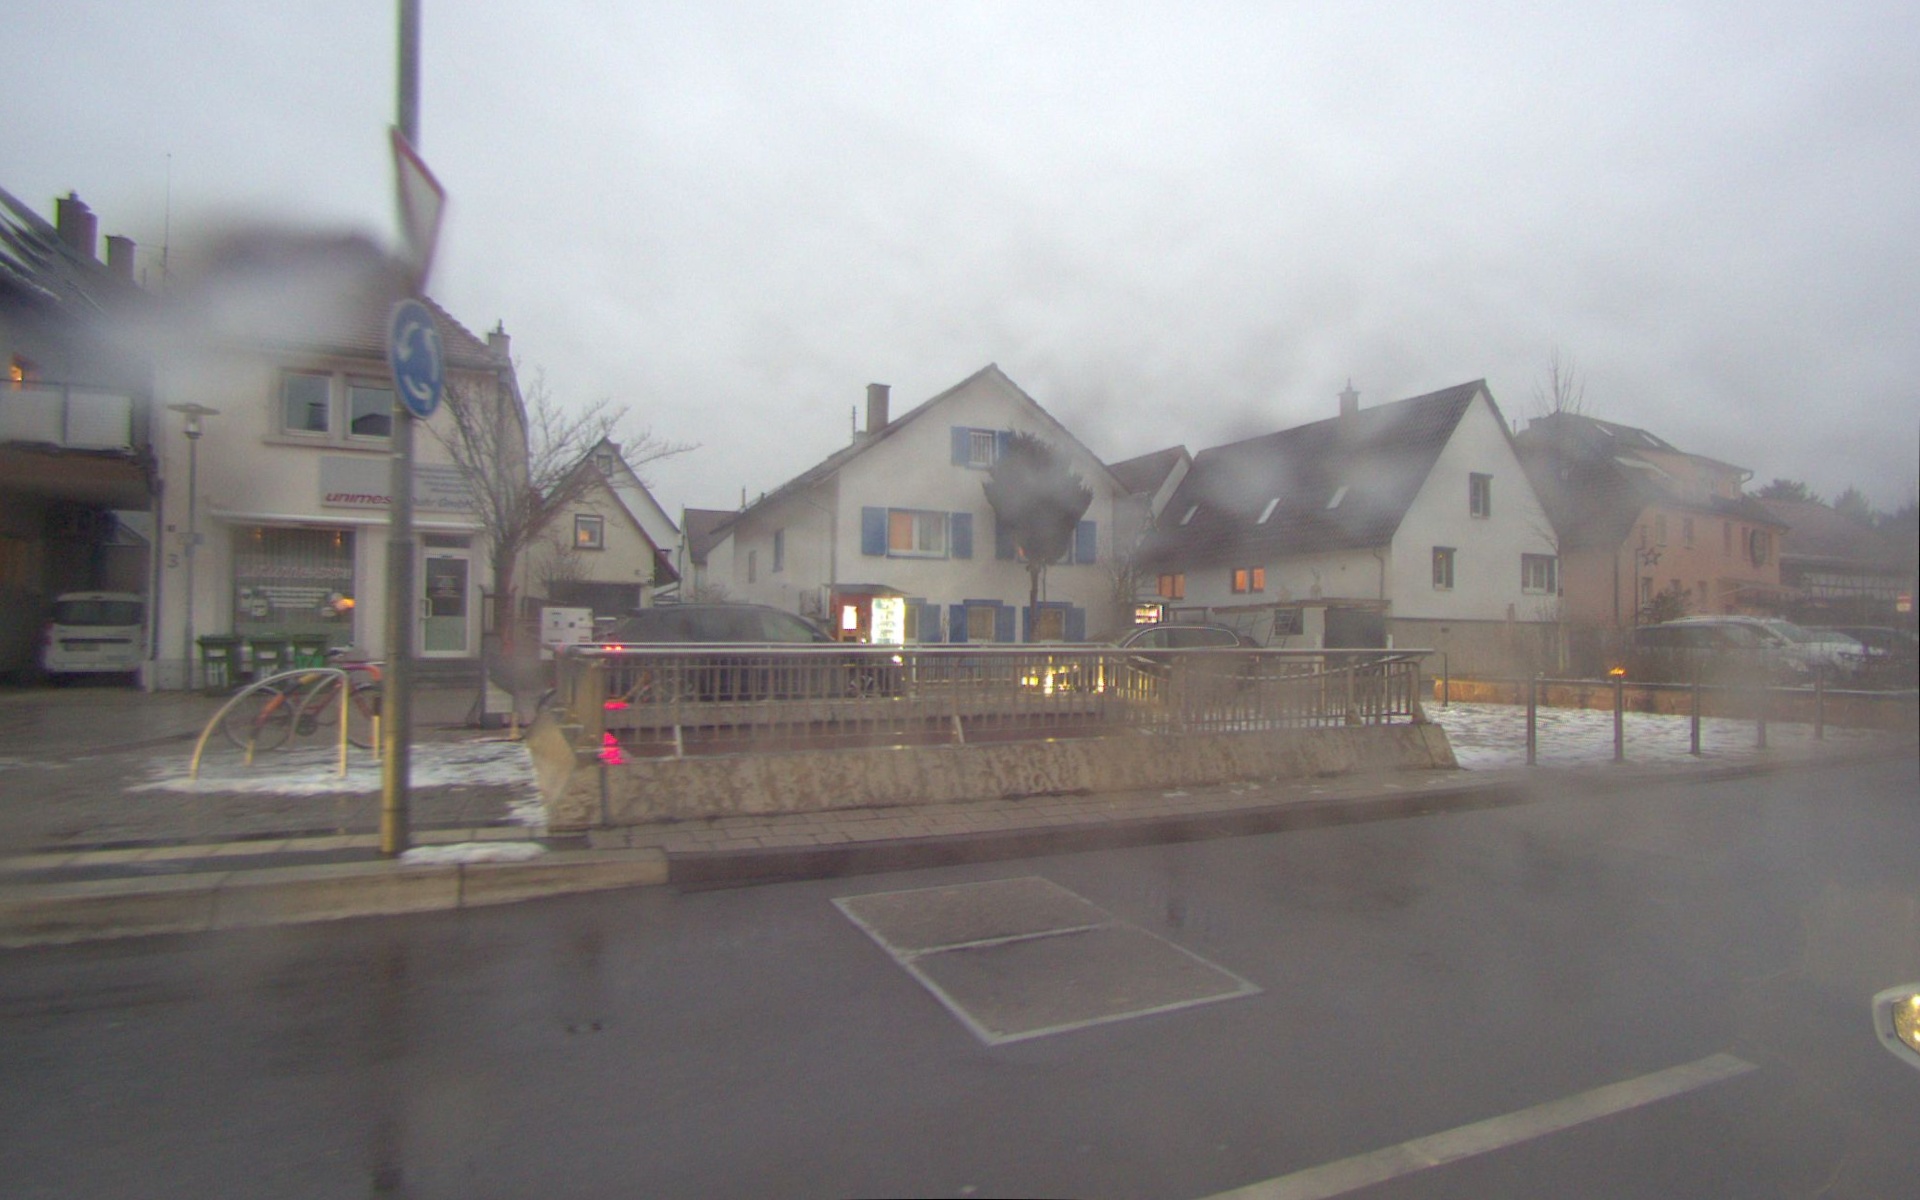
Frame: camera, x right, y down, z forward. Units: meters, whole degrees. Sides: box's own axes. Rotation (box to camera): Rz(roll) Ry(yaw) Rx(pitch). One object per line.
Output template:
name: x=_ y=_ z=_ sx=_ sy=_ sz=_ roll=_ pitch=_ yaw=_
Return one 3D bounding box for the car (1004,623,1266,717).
car: x=3.196 y=1.211 z=18.142 sx=4.514 sy=1.502 sz=1.796 roll=0 pitch=-3 yaw=-28

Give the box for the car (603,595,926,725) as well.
car: x=-2.922 y=0.867 z=15.089 sx=4.501 sy=1.723 sz=1.751 roll=1 pitch=-3 yaw=-24

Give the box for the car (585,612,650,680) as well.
car: x=-10.994 y=1.488 z=32.117 sx=1.810 sy=2.045 sz=3.566 roll=0 pitch=-3 yaw=-22

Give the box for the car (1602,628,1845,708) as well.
car: x=14.661 y=1.252 z=19.458 sx=1.582 sy=1.390 sz=3.428 roll=1 pitch=-2 yaw=-30

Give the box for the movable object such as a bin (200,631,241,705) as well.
movable object such as a bin: x=-12.668 y=1.161 z=17.209 sx=0.447 sy=1.225 sz=0.286 roll=3 pitch=-1 yaw=-25

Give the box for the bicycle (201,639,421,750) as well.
bicycle: x=-6.266 y=0.906 z=9.777 sx=1.709 sy=1.023 sz=0.470 roll=1 pitch=-1 yaw=-14

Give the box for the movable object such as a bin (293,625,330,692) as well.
movable object such as a bin: x=-11.458 y=1.031 z=17.749 sx=0.447 sy=1.157 sz=0.286 roll=3 pitch=-1 yaw=-25

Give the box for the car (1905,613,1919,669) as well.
car: x=30.838 y=1.251 z=29.164 sx=1.978 sy=1.689 sz=4.600 roll=2 pitch=-1 yaw=-32

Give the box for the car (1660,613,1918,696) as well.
car: x=17.036 y=1.060 z=20.858 sx=1.690 sy=1.543 sz=3.785 roll=2 pitch=-1 yaw=-23

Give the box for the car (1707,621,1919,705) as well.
car: x=19.318 y=1.336 z=22.342 sx=1.566 sy=1.629 sz=4.080 roll=2 pitch=-1 yaw=-26

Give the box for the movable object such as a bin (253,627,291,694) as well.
movable object such as a bin: x=-12.003 y=1.050 z=17.521 sx=0.447 sy=1.135 sz=0.286 roll=3 pitch=-1 yaw=-25

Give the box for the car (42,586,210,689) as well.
car: x=-16.530 y=0.743 z=20.096 sx=1.491 sy=1.877 sz=3.411 roll=2 pitch=-2 yaw=-21
